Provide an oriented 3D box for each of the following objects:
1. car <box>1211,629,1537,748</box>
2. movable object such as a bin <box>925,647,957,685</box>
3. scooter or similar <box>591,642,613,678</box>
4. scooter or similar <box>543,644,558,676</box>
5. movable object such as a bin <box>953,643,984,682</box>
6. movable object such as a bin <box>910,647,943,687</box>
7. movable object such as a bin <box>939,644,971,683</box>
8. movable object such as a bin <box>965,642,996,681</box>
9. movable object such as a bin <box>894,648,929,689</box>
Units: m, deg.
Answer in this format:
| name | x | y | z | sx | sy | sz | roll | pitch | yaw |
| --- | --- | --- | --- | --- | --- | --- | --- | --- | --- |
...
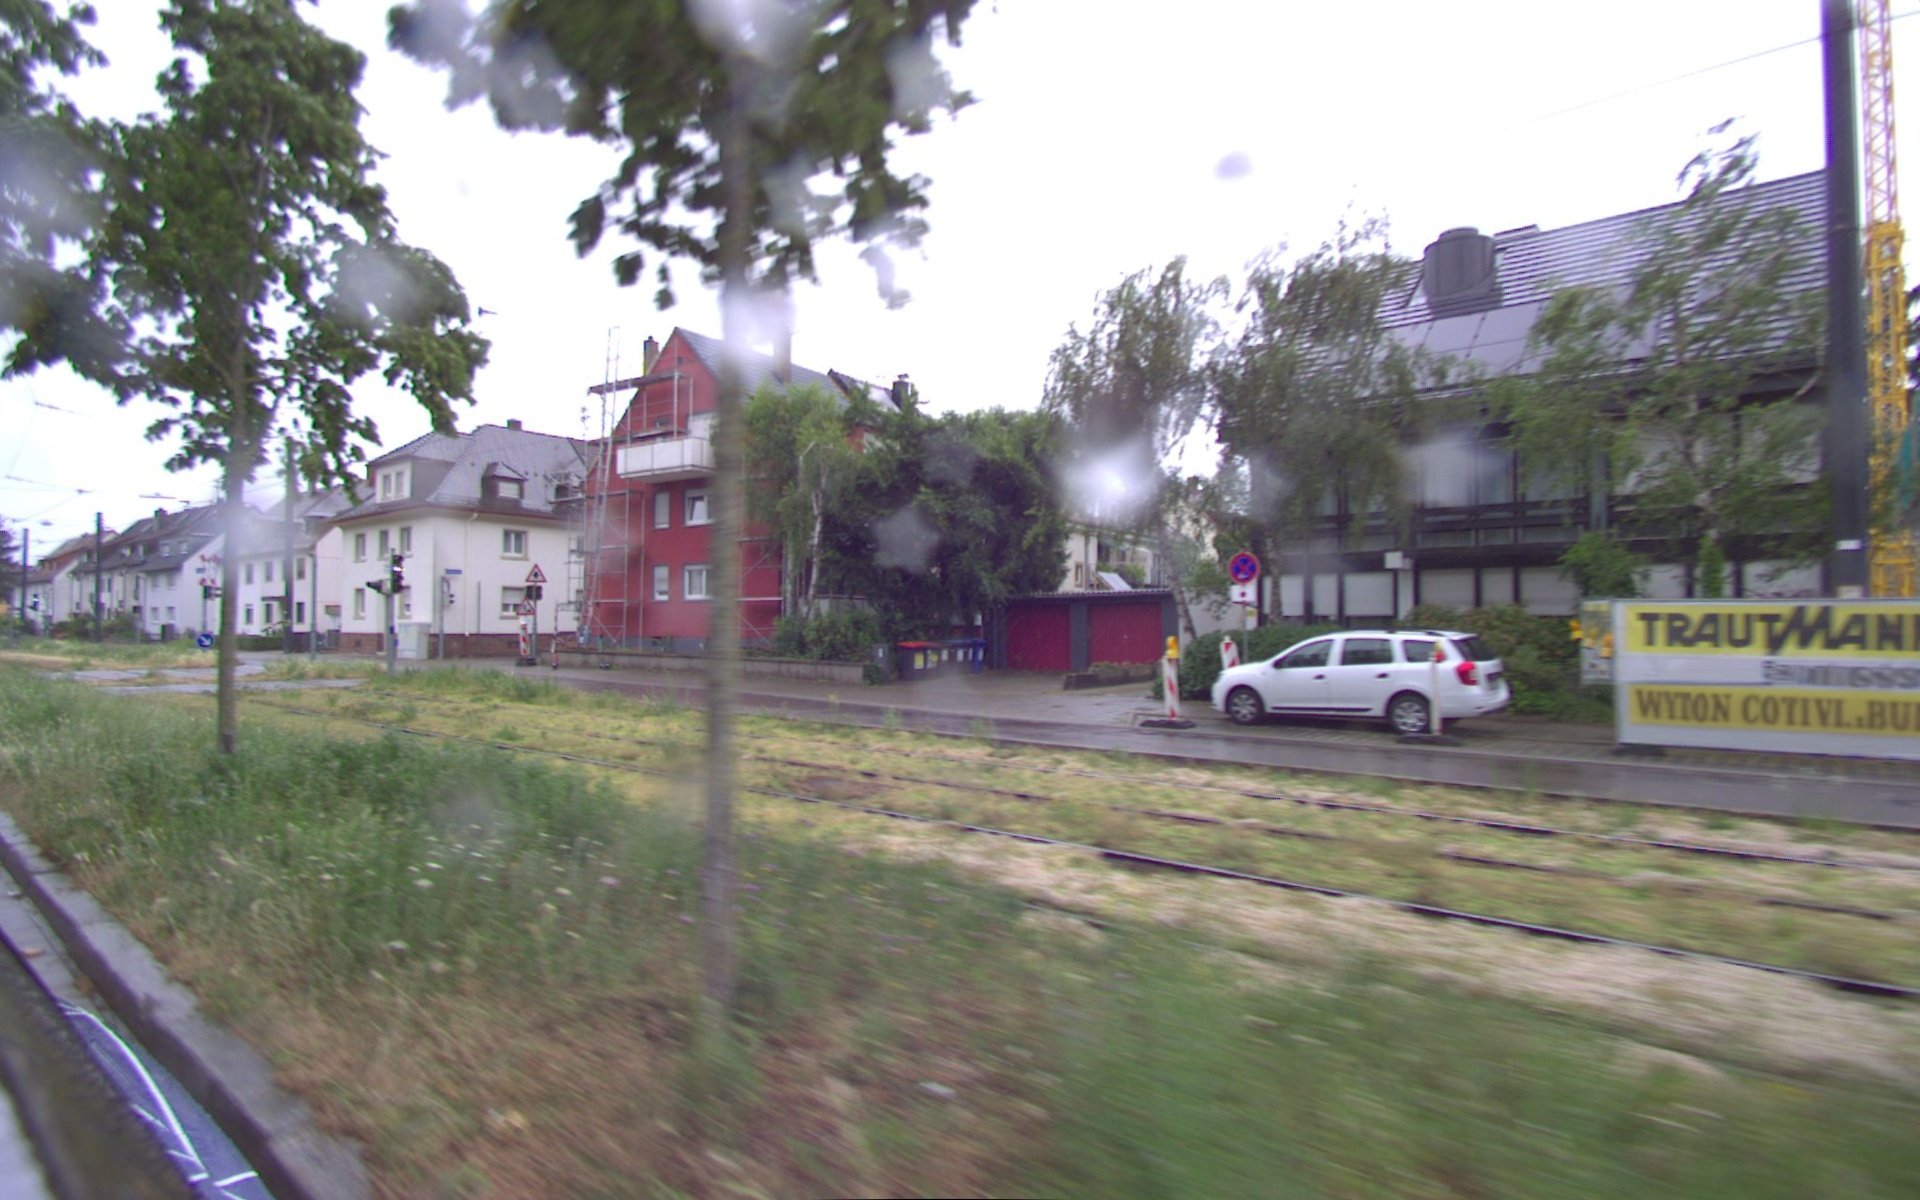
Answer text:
| name | x | y | z | sx | sy | sz | roll | pitch | yaw |
| --- | --- | --- | --- | --- | --- | --- | --- | --- | --- |
| car | 6.365 | 1.278 | 15.899 | 4.421 | 1.554 | 1.692 | -2 | -1 | 42 |
| movable object such as a bin | -0.548 | 1.900 | 29.318 | 0.757 | 1.090 | 0.554 | -2 | -4 | 41 |
| scooter or similar | -12.271 | 2.043 | 34.690 | 0.388 | 1.189 | 1.286 | 2 | -2 | -34 |
| scooter or similar | -14.662 | 2.137 | 36.266 | 0.434 | 1.138 | 1.287 | 1 | -2 | -20 |
| movable object such as a bin | 0.260 | 1.862 | 30.341 | 0.757 | 1.147 | 0.554 | -2 | -4 | 41 |
| movable object such as a bin | -0.965 | 1.903 | 28.836 | 0.757 | 1.090 | 0.554 | -2 | -4 | 41 |
| movable object such as a bin | -0.147 | 1.864 | 29.840 | 0.757 | 1.147 | 0.554 | -2 | -4 | 41 |
| movable object such as a bin | 0.631 | 1.868 | 30.783 | 0.757 | 1.147 | 0.554 | -2 | -4 | 41 |
| movable object such as a bin | -1.366 | 1.906 | 28.355 | 0.757 | 1.099 | 0.637 | -2 | -3 | 41 |
